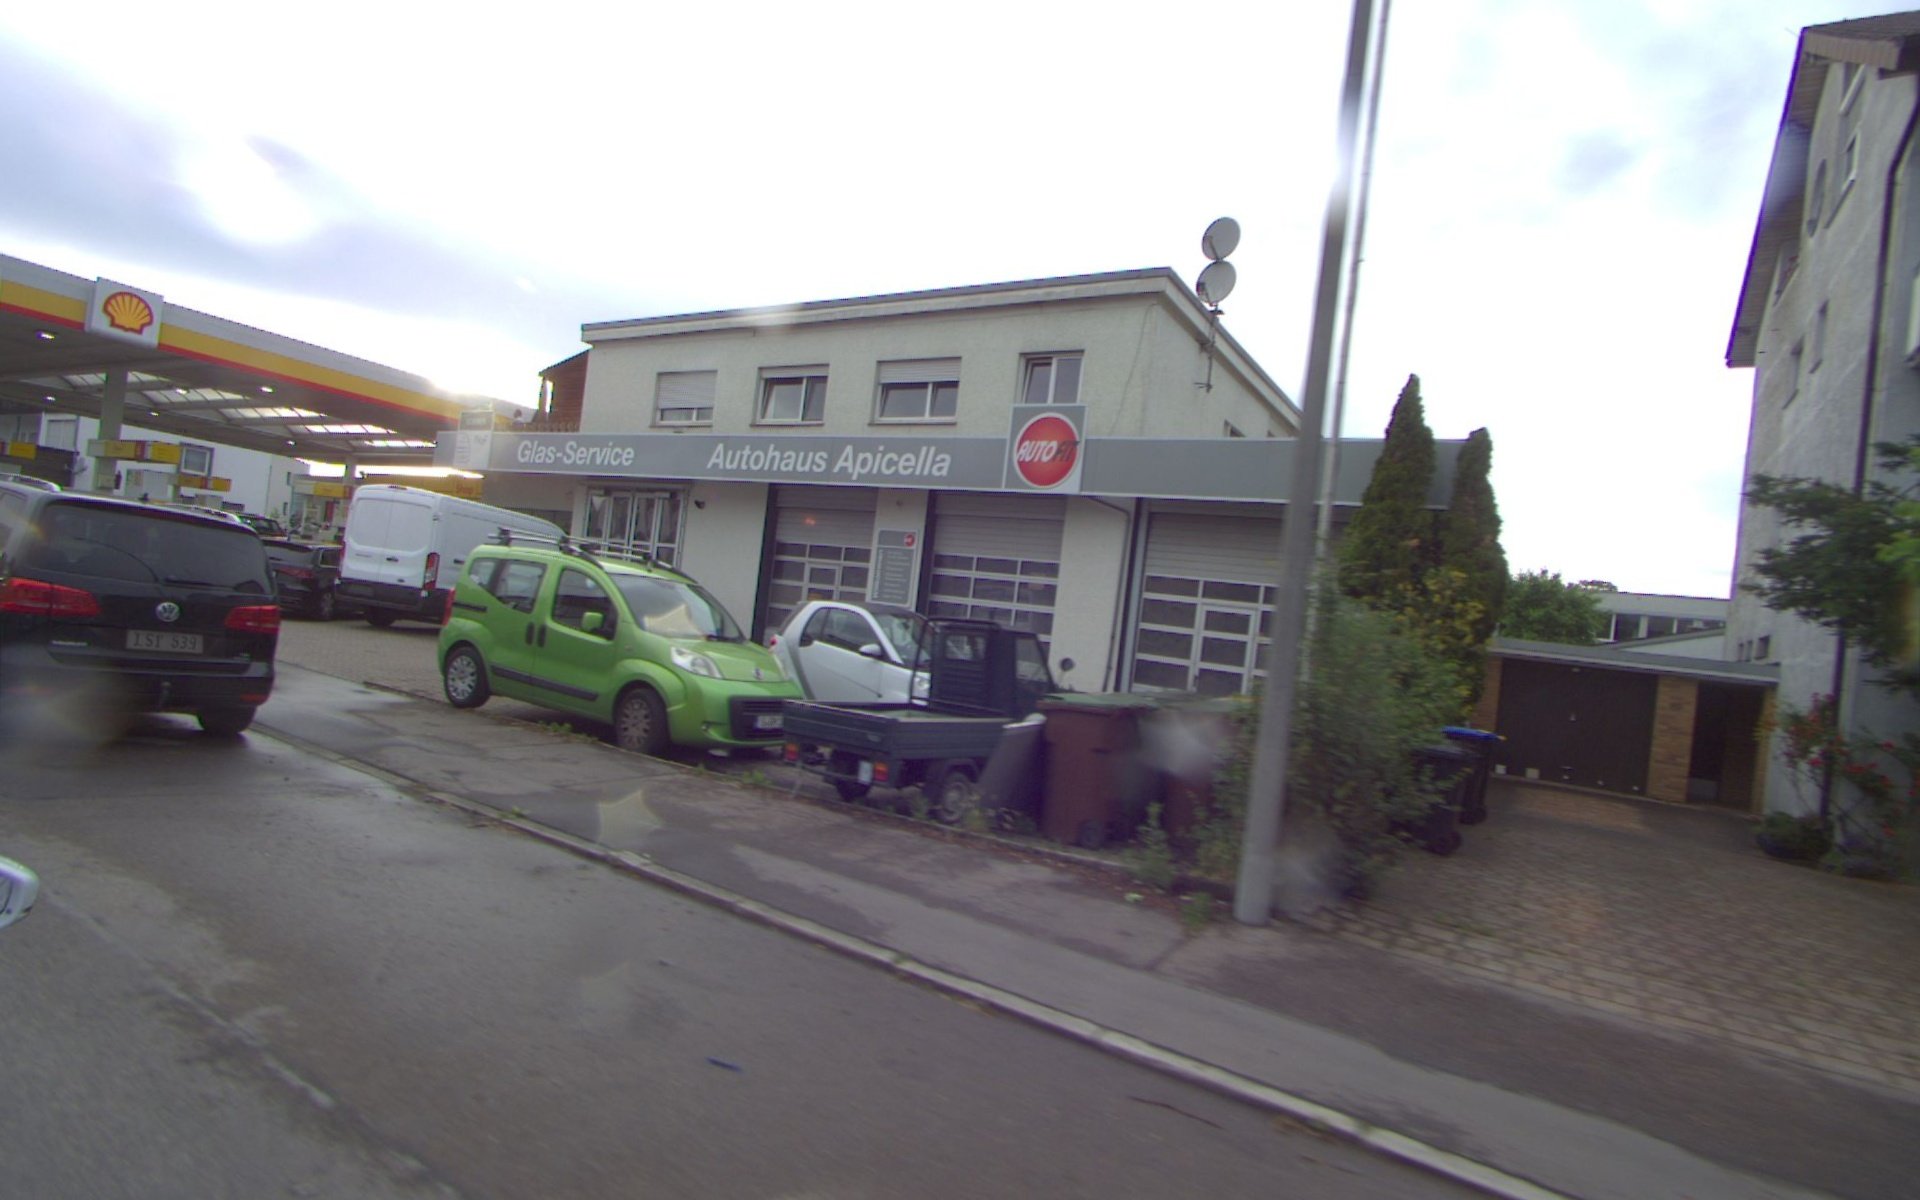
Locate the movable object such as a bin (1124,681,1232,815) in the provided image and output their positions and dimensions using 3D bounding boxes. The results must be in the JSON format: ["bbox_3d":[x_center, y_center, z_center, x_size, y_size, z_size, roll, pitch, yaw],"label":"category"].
[{"bbox_3d":[2.019,1.340,9.296,0.670,1.088,0.670,7,0,31],"label":"movable object such as a bin"}]

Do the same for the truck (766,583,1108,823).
[{"bbox_3d":[-0.095,0.827,8.275,1.307,1.548,2.553,7,-1,40],"label":"truck"}]

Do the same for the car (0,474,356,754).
[{"bbox_3d":[-6.758,-0.048,7.607,3.932,1.615,1.997,7,0,30],"label":"car"}]

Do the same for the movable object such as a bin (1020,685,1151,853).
[{"bbox_3d":[0.935,1.224,7.465,0.670,1.088,0.575,7,0,31],"label":"movable object such as a bin"}]

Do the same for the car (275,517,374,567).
[{"bbox_3d":[-25.118,-2.301,39.730,3.717,1.483,1.743,7,-1,32],"label":"car"}]

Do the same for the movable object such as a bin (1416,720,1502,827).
[{"bbox_3d":[5.912,2.025,11.899,0.746,1.090,0.860,6,-2,31],"label":"movable object such as a bin"}]

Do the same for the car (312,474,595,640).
[{"bbox_3d":[-9.549,-0.657,19.582,2.205,2.550,4.809,8,-1,11],"label":"car"}]

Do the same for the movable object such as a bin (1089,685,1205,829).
[{"bbox_3d":[1.617,1.326,8.663,0.670,1.088,0.670,7,0,31],"label":"movable object such as a bin"}]

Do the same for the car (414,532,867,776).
[{"bbox_3d":[-3.208,0.465,10.065,3.930,1.703,1.998,7,-1,28],"label":"car"}]

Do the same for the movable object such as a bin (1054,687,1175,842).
[{"bbox_3d":[1.237,1.288,8.044,0.670,1.088,0.575,7,0,31],"label":"movable object such as a bin"}]

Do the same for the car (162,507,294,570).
[{"bbox_3d":[-23.643,-2.005,32.444,4.596,1.483,1.743,7,-1,32],"label":"car"}]

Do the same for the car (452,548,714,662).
[{"bbox_3d":[-6.872,0.182,18.839,1.864,1.592,4.311,7,-1,29],"label":"car"}]

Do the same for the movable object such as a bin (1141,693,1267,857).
[{"bbox_3d":[1.859,1.304,7.656,0.670,1.088,0.575,7,0,31],"label":"movable object such as a bin"}]

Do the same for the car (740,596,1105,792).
[{"bbox_3d":[-0.450,0.947,11.485,3.667,1.540,1.749,7,2,28],"label":"car"}]

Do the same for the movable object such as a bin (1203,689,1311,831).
[{"bbox_3d":[2.602,1.375,8.798,0.670,1.088,0.575,7,0,31],"label":"movable object such as a bin"}]

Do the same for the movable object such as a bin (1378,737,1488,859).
[{"bbox_3d":[4.360,1.786,9.259,0.746,0.938,0.860,6,-2,31],"label":"movable object such as a bin"}]

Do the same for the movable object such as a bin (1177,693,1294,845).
[{"bbox_3d":[2.252,1.351,8.216,0.670,1.088,0.575,7,0,31],"label":"movable object such as a bin"}]

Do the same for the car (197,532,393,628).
[{"bbox_3d":[-12.471,-0.356,19.195,1.752,1.391,3.989,8,-1,-14],"label":"car"}]
